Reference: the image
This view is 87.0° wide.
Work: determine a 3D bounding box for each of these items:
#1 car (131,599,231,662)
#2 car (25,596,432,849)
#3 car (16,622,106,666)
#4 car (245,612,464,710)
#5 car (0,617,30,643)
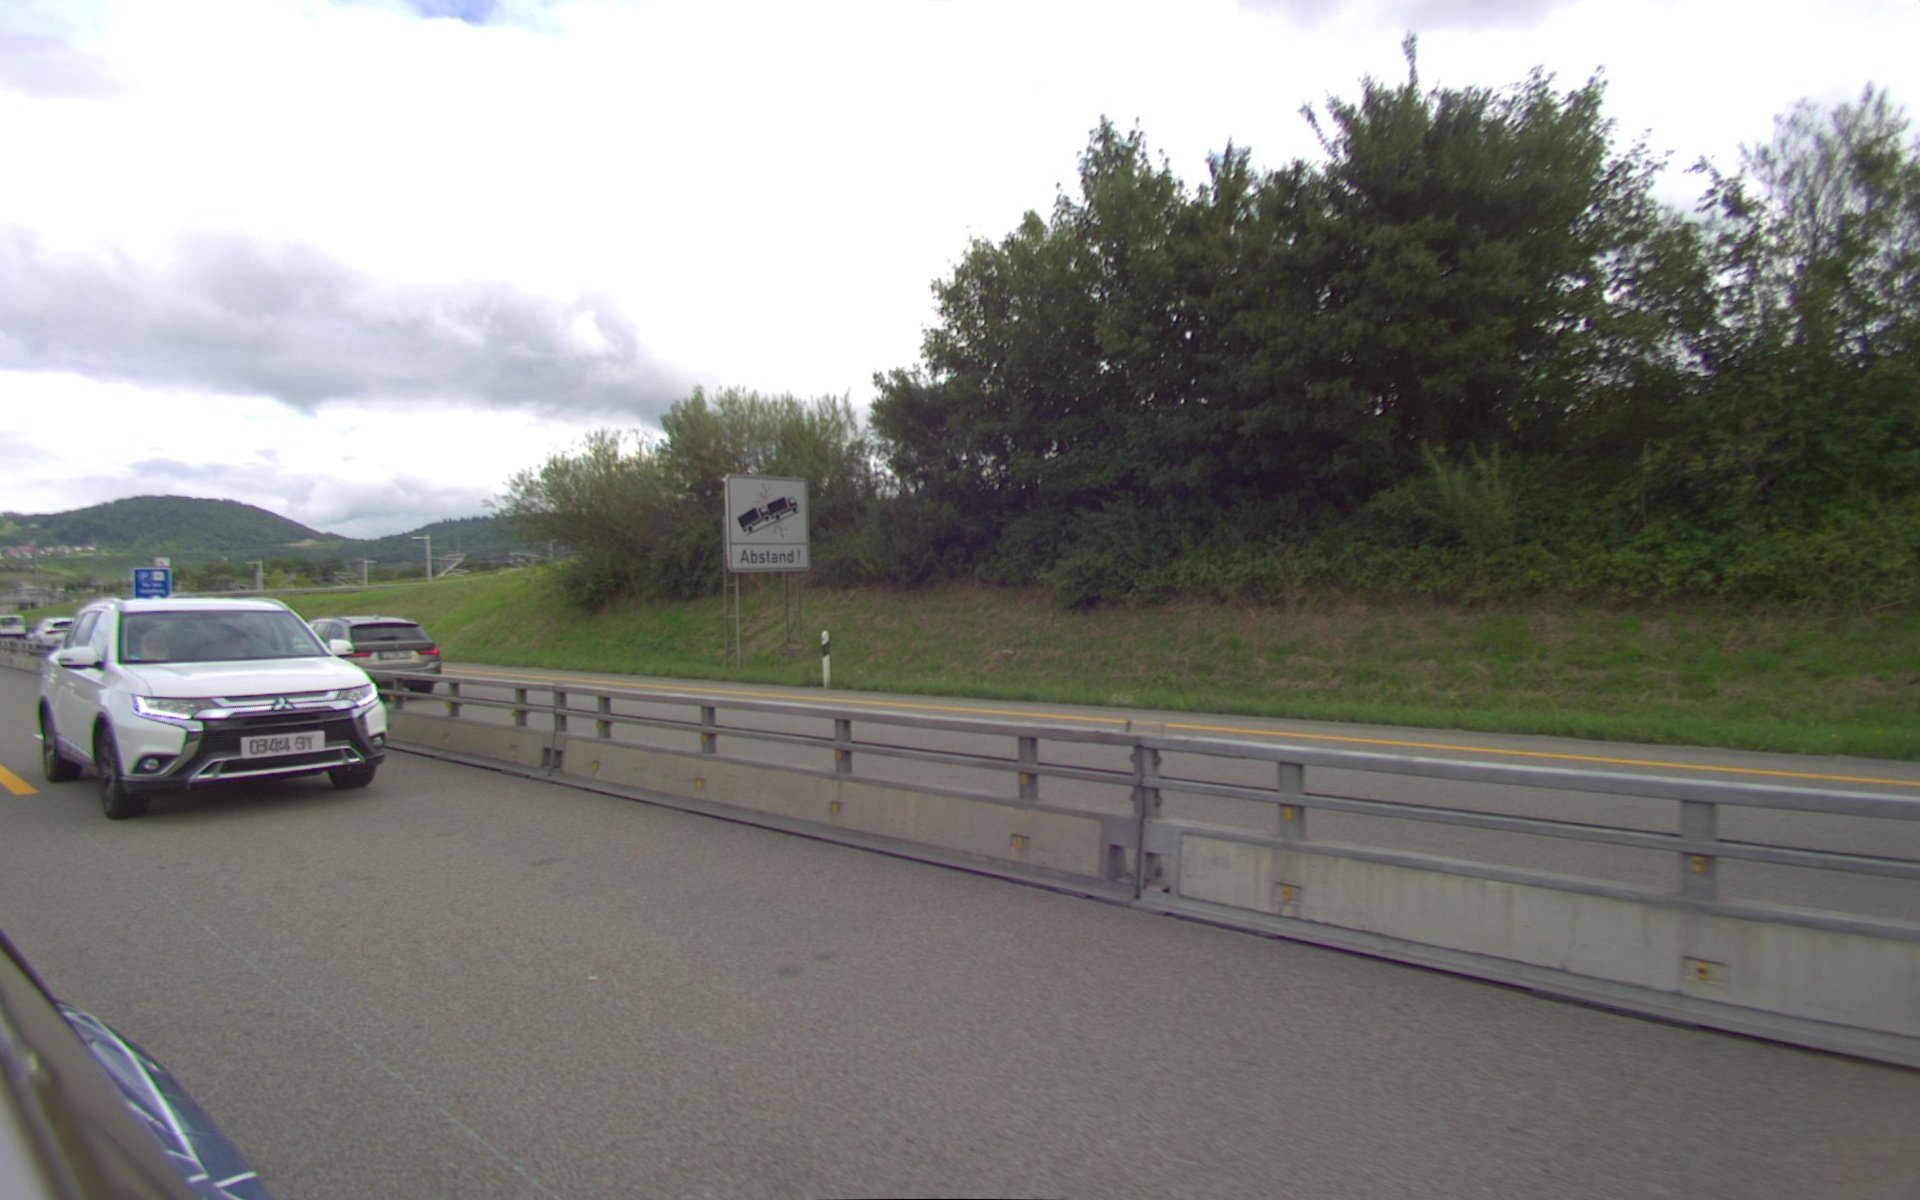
[{"bbox_3d":[-29.875,1.139,38.772,5.045,2.270,1.974,-1,0,40],"label":"car"},{"bbox_3d":[-6.563,0.837,8.855,4.606,1.640,1.972,-1,-1,42],"label":"car"},{"bbox_3d":[-34.230,1.636,38.489,4.666,1.532,1.973,-1,-1,41],"label":"car"},{"bbox_3d":[-11.089,1.020,18.377,4.950,1.532,1.973,-1,-1,41],"label":"car"},{"bbox_3d":[-69.688,2.183,73.966,4.930,1.805,1.973,-1,-1,40],"label":"car"}]
